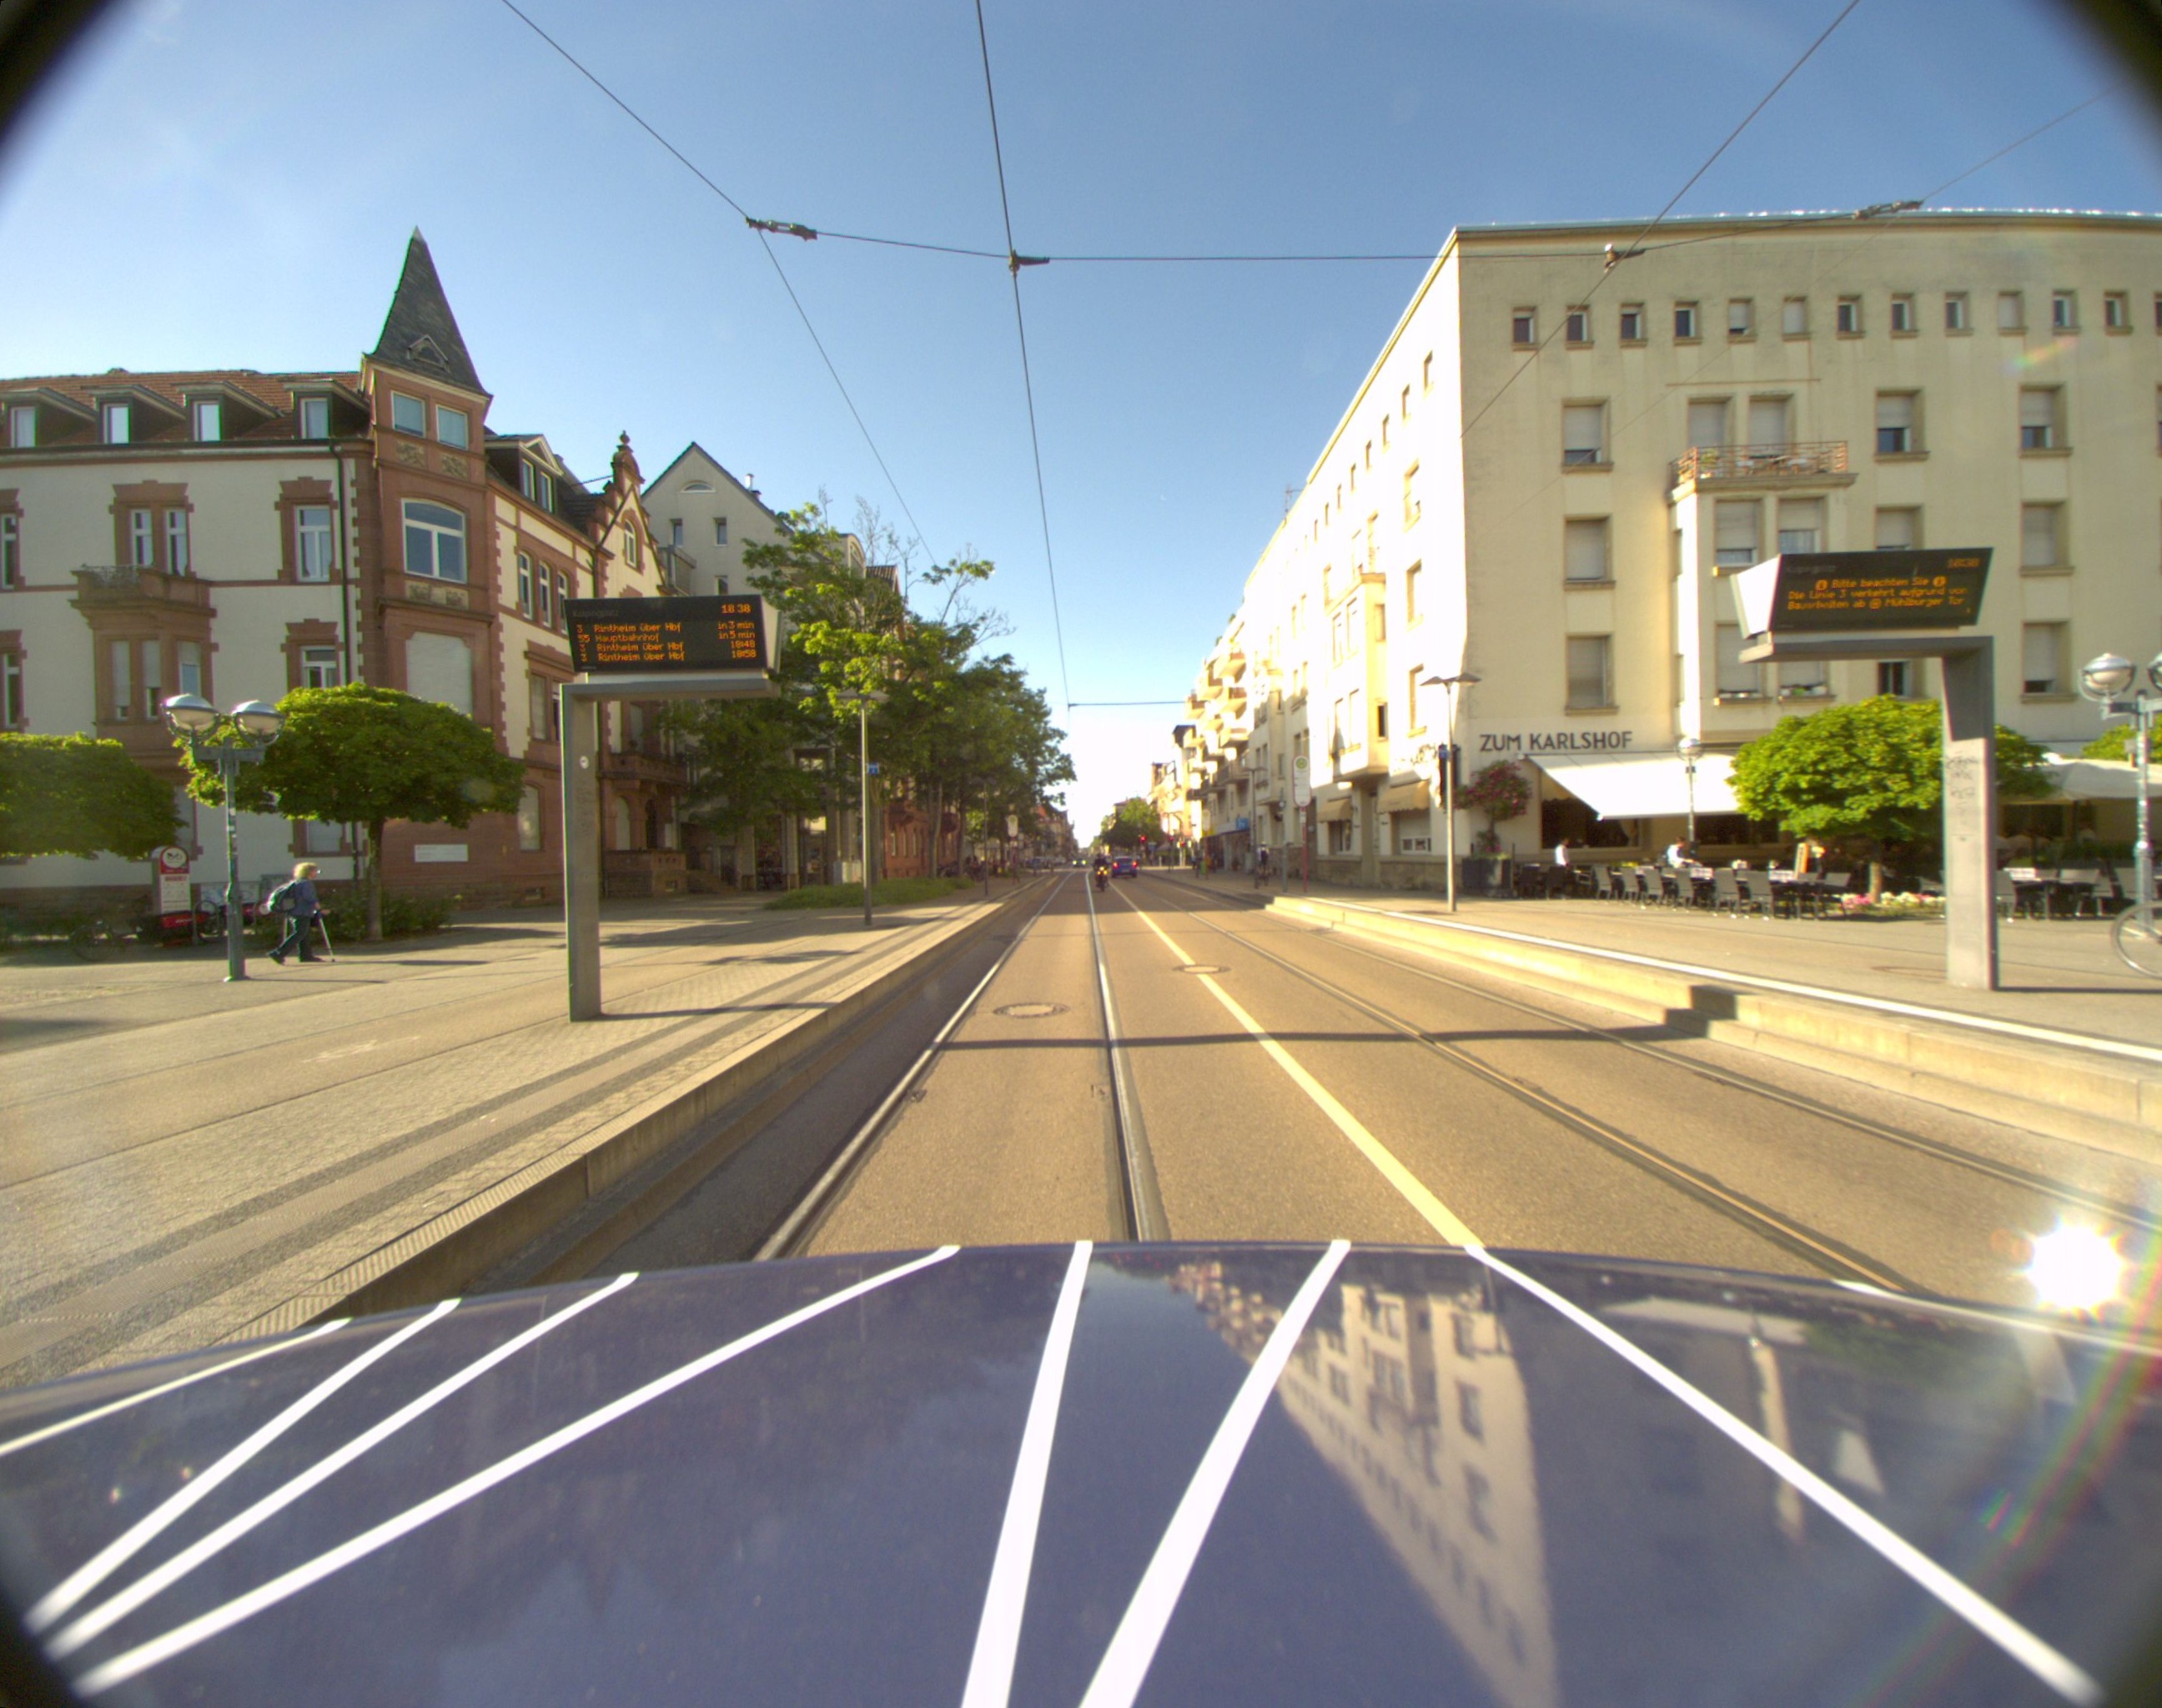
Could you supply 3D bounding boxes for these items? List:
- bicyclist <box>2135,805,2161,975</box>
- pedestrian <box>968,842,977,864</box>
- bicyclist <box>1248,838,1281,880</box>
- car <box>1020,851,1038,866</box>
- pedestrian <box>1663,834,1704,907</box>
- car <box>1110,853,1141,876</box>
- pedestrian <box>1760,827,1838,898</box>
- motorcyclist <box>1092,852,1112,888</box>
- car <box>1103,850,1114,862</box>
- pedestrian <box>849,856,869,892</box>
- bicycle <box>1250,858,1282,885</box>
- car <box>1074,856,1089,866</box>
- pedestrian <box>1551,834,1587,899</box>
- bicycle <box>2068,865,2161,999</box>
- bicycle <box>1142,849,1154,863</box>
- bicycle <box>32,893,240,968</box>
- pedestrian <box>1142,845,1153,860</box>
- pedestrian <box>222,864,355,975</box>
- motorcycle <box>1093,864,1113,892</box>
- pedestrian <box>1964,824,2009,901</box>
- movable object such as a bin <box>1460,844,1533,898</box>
[{"bbox_3d":[9.563,0.295,6.153,0.829,1.447,0.877,-2,1,2],"label":"bicyclist"},{"bbox_3d":[-10.088,-0.080,70.748,0.653,2.002,0.559,-1,1,3],"label":"pedestrian"},{"bbox_3d":[7.892,0.208,32.735,1.007,1.783,1.094,-2,1,-8],"label":"bicyclist"},{"bbox_3d":[-7.193,0.618,105.858,1.998,2.002,4.001,-1,0,4],"label":"car"},{"bbox_3d":[13.994,0.394,17.668,0.672,1.634,0.678,-2,-3,36],"label":"pedestrian"},{"bbox_3d":[3.037,0.696,52.513,1.672,1.479,3.998,-2,0,-4],"label":"car"},{"bbox_3d":[16.879,0.215,17.880,1.066,1.634,0.757,0,-2,-4],"label":"pedestrian"},{"bbox_3d":[0.907,0.671,32.540,0.821,1.466,1.114,-1,1,1],"label":"motorcyclist"},{"bbox_3d":[4.730,0.327,129.968,1.877,2.105,4.000,-2,1,2],"label":"car"},{"bbox_3d":[-10.784,0.947,36.882,0.742,1.725,0.877,-2,1,-6],"label":"pedestrian"},{"bbox_3d":[7.948,0.738,32.779,0.714,1.119,2.035,-1,0,-5],"label":"bicycle"},{"bbox_3d":[0.111,0.986,107.671,1.998,1.318,3.863,-1,0,1],"label":"car"},{"bbox_3d":[12.612,0.341,19.652,0.672,1.634,0.752,-1,-2,27],"label":"pedestrian"},{"bbox_3d":[9.581,0.680,6.112,0.730,1.107,1.977,-2,1,1],"label":"bicycle"},{"bbox_3d":[8.763,0.262,99.239,1.226,1.719,3.110,-1,0,12],"label":"bicycle"},{"bbox_3d":[-18.203,1.420,14.793,0.790,1.062,2.804,-2,2,-8],"label":"bicycle"},{"bbox_3d":[8.719,-0.195,99.184,1.175,2.002,1.023,-1,1,20],"label":"pedestrian"},{"bbox_3d":[-12.632,1.011,12.163,1.070,1.659,0.956,-2,1,-12],"label":"pedestrian"},{"bbox_3d":[0.923,1.021,32.581,0.799,1.090,2.429,-1,0,1],"label":"motorcycle"},{"bbox_3d":[21.903,0.204,18.382,0.578,1.813,0.647,-2,1,-36],"label":"pedestrian"},{"bbox_3d":[11.163,0.450,20.452,1.319,1.392,1.128,-1,1,-1],"label":"movable object such as a bin"}]
